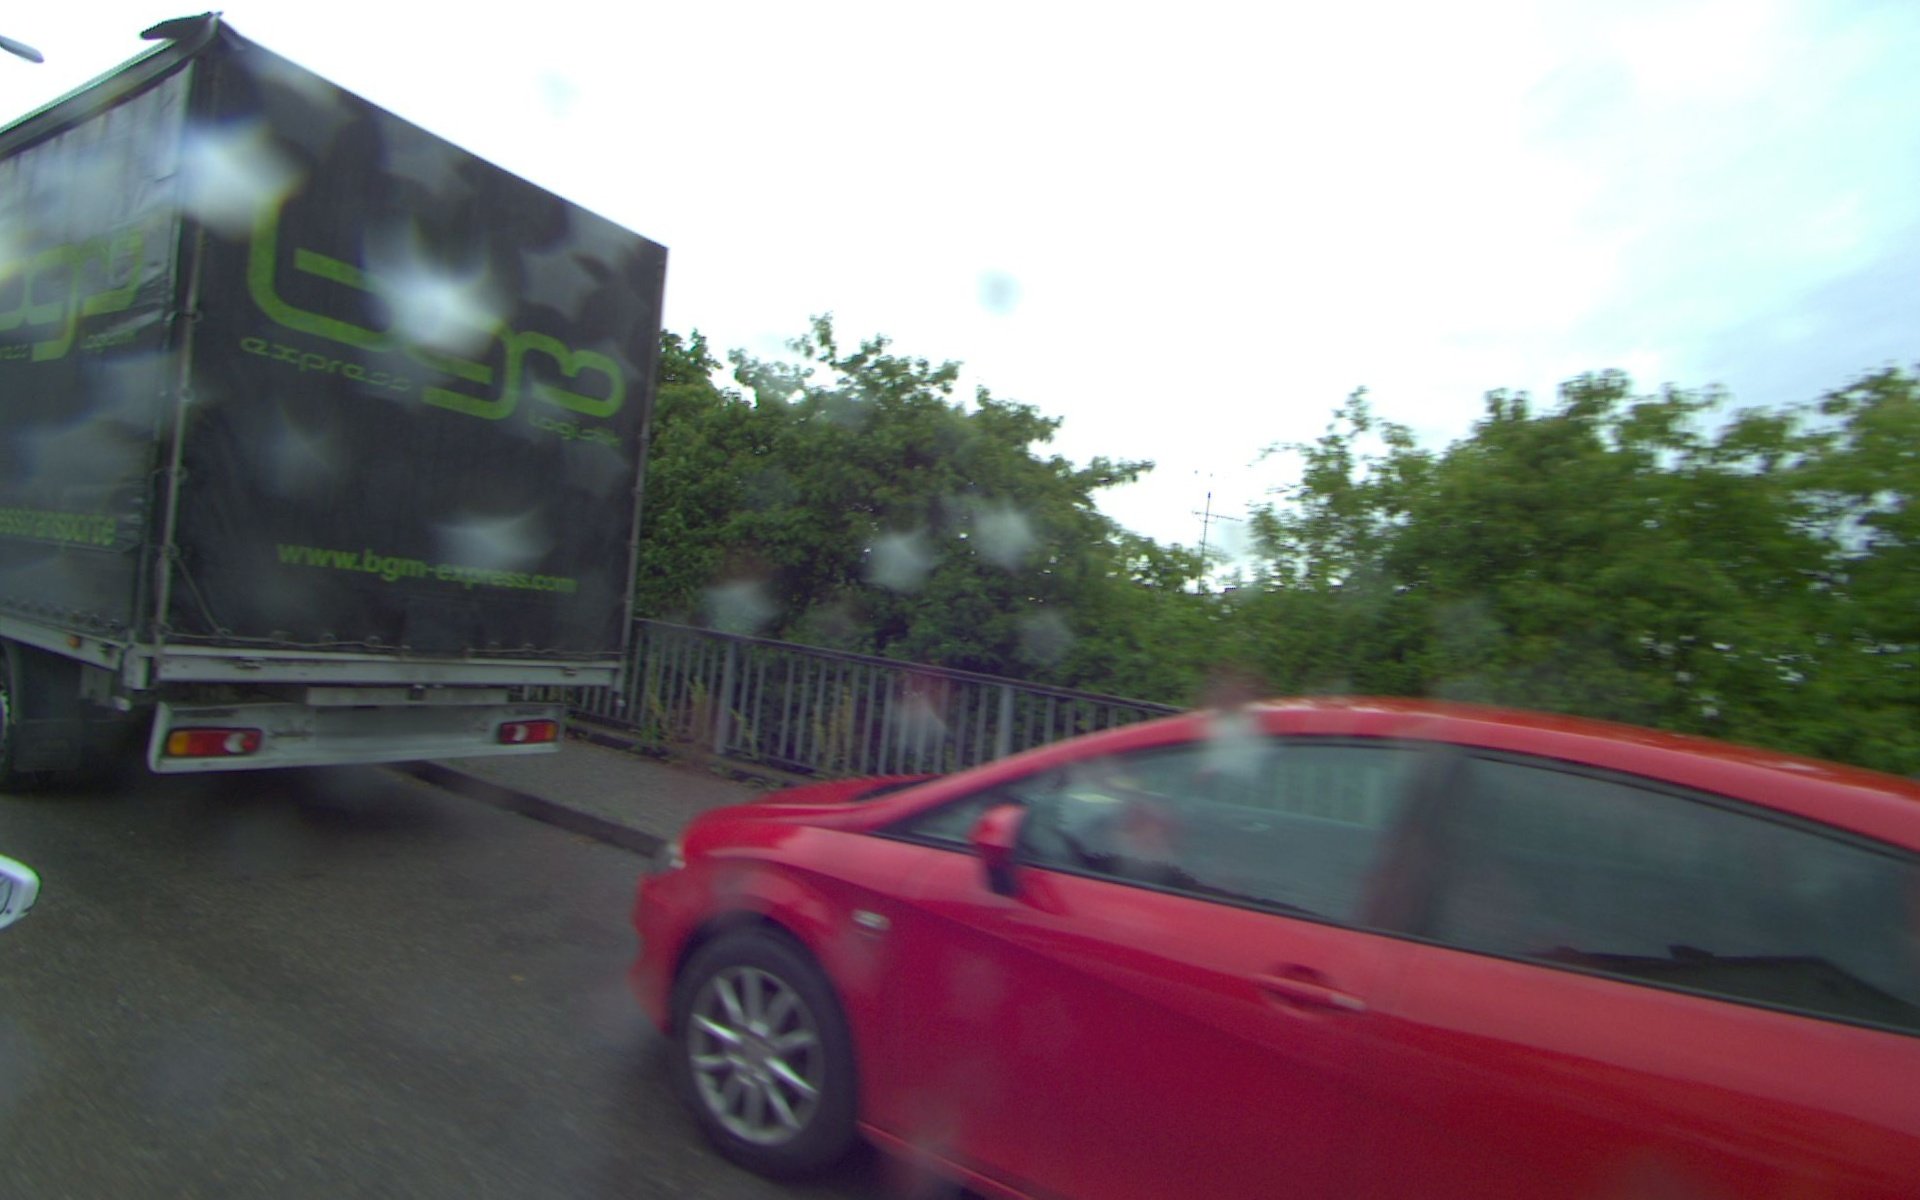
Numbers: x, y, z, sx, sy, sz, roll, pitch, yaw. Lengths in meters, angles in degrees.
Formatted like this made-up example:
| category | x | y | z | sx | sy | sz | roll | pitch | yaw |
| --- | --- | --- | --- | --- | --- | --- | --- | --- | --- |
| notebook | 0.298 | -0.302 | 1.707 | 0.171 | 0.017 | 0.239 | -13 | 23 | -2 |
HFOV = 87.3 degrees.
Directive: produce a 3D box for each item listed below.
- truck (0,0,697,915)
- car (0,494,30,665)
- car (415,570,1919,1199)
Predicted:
| category | x | y | z | sx | sy | sz | roll | pitch | yaw |
| --- | --- | --- | --- | --- | --- | --- | --- | --- | --- |
| truck | -5.623 | -0.801 | 6.731 | 7.833 | 3.375 | 2.440 | 6 | -1 | 32 |
| car | -12.315 | -0.527 | 10.837 | 5.545 | 1.703 | 1.849 | 6 | -1 | 32 |
| car | 0.853 | 0.934 | 2.820 | 4.903 | 1.455 | 1.835 | 6 | -1 | 31 |
